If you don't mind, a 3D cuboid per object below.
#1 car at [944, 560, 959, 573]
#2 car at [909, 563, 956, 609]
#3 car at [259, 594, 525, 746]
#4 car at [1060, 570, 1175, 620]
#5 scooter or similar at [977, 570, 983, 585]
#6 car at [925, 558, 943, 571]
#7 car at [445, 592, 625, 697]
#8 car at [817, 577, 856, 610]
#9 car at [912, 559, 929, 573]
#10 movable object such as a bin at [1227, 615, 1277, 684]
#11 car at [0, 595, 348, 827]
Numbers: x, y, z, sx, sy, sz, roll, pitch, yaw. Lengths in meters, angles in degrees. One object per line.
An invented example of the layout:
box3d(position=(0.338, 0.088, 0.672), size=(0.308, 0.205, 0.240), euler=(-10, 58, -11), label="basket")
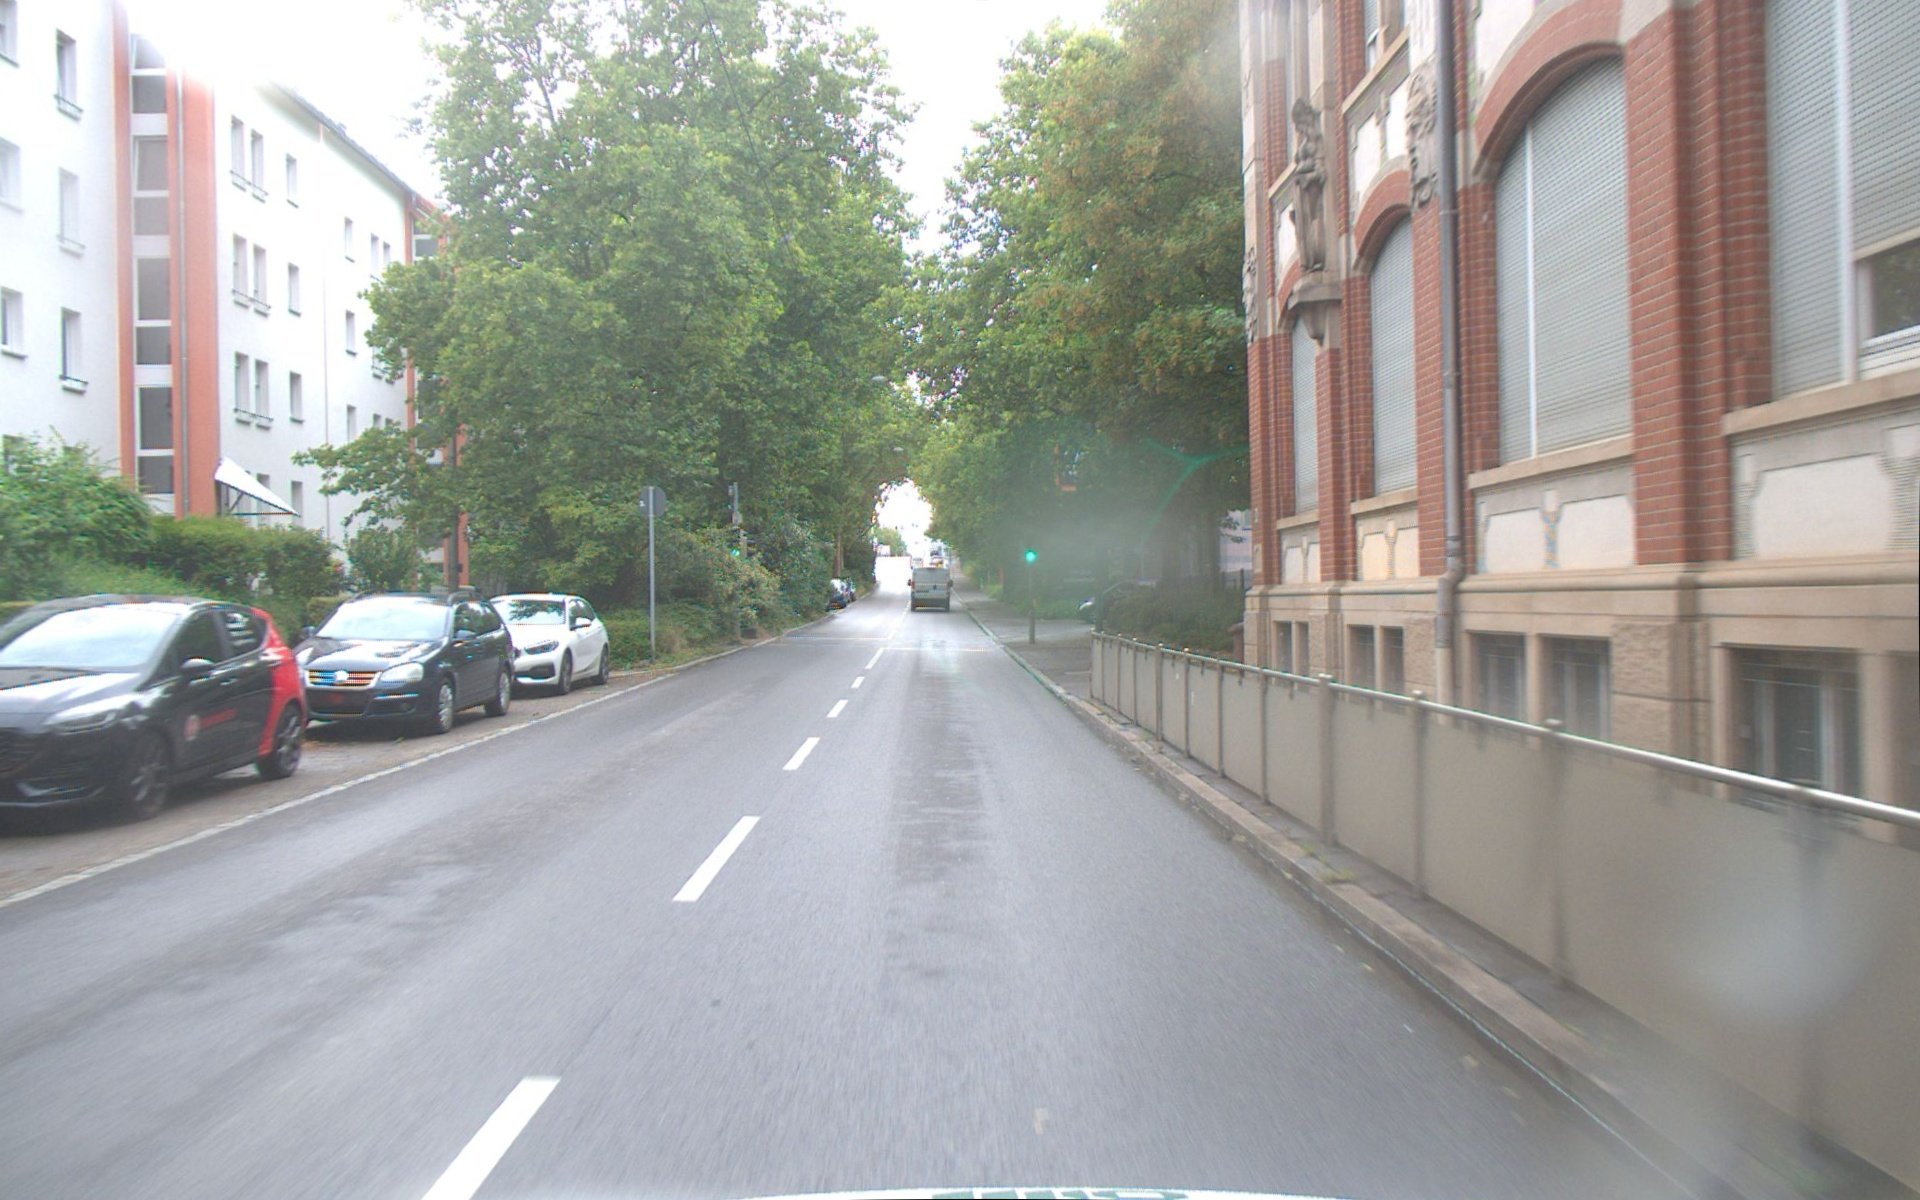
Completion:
box3d(position=(-1.261, -4.726, 235.295), size=(1.890, 1.739, 3.874), euler=(1, -1, 3), label="car")
box3d(position=(-1.414, -0.694, 85.618), size=(2.288, 2.270, 3.999), euler=(-2, 0, -1), label="car")
box3d(position=(-6.211, 0.687, 18.578), size=(1.682, 1.493, 4.231), euler=(0, 0, -2), label="car")
box3d(position=(5.719, -0.190, 60.242), size=(3.776, 1.574, 2.023), euler=(-3, 1, -7), label="car")
box3d(position=(1.575, -1.745, 130.000), size=(0.417, 1.162, 1.528), euler=(1, -1, -3), label="scooter or similar")
box3d(position=(-3.550, -4.864, 226.834), size=(2.103, 1.739, 3.874), euler=(1, -1, 3), label="car")
box3d(position=(-6.456, 0.618, 25.588), size=(1.682, 1.493, 4.309), euler=(0, 0, 0), label="car")
box3d(position=(-6.521, -0.361, 87.698), size=(1.827, 1.618, 4.238), euler=(-3, 1, -2), label="car")
box3d(position=(-5.591, -4.814, 235.051), size=(2.114, 1.739, 3.874), euler=(1, -1, 3), label="car")
box3d(position=(4.228, 0.711, 23.953), size=(0.578, 0.949, 0.572), euler=(-2, 0, -2), label="movable object such as a bin")
box3d(position=(-6.145, 0.715, 12.618), size=(1.682, 1.493, 3.754), euler=(0, 0, -3), label="car")
